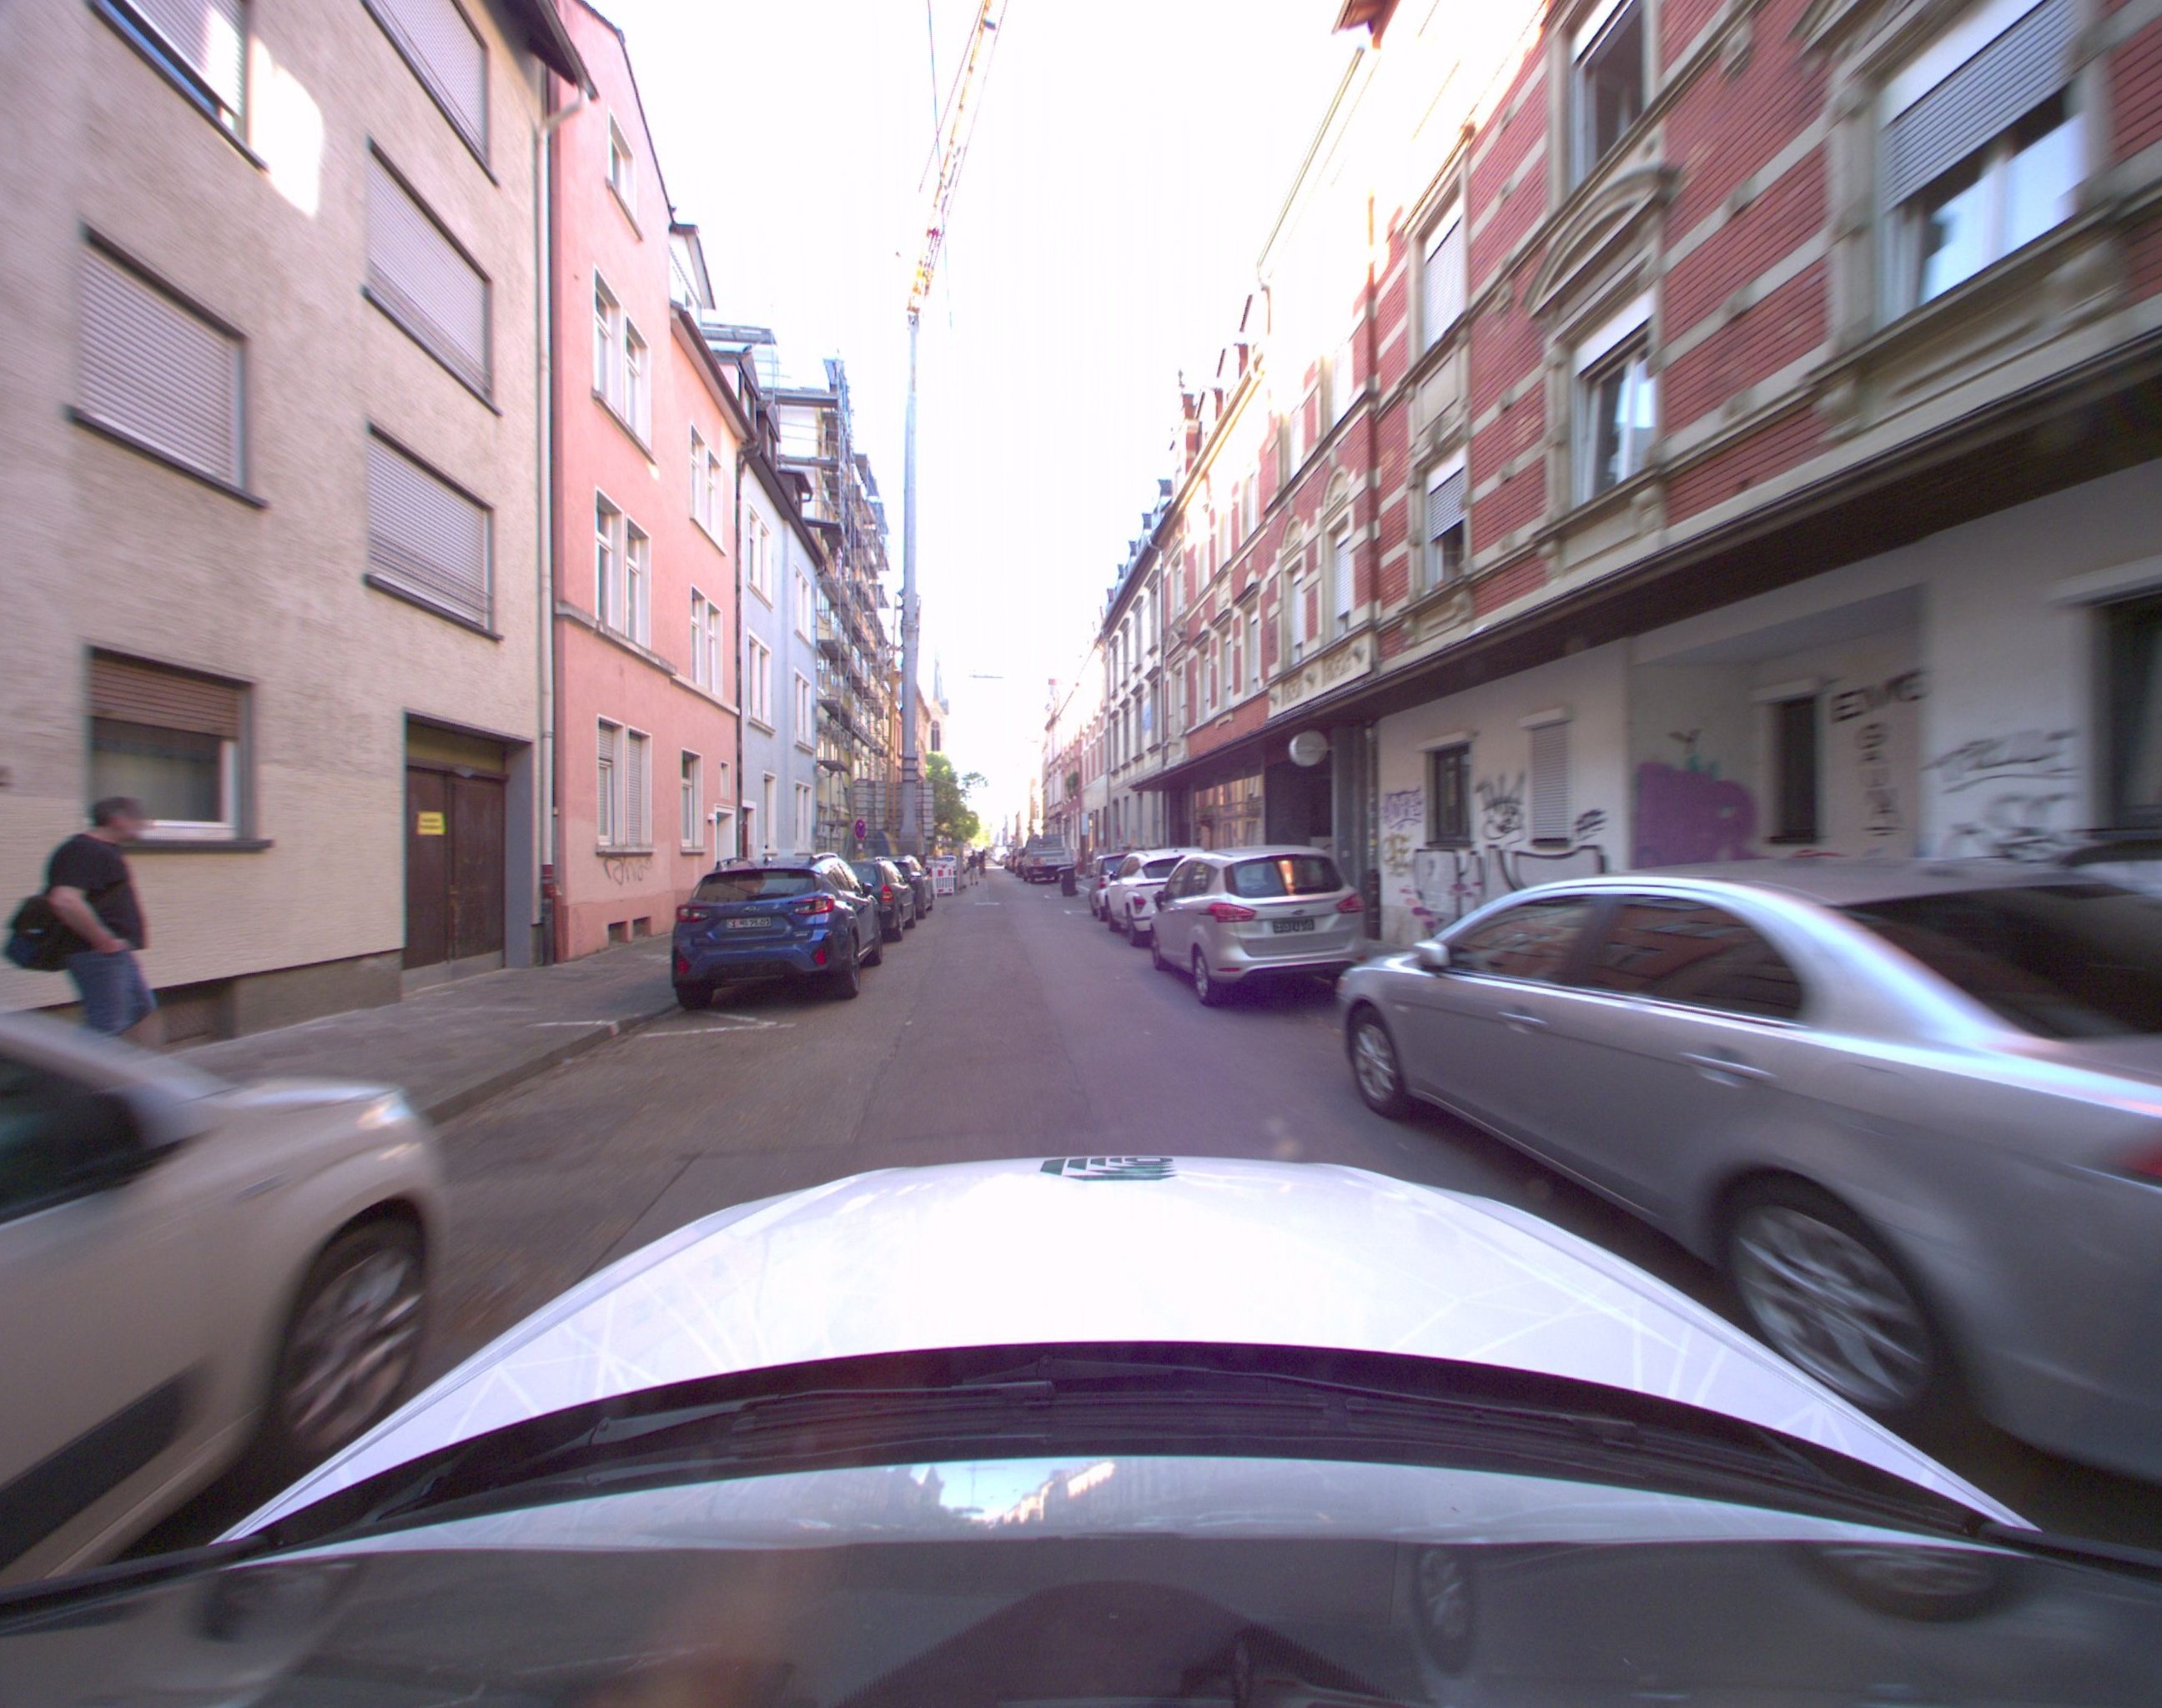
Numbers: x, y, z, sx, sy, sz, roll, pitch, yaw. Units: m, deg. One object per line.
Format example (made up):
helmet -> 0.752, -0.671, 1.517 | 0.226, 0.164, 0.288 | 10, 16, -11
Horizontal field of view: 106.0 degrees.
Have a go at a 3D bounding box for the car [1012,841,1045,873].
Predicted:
car -> -3.430, 0.175, 52.646 | 1.674, 1.963, 4.096 | -1, 0, -9

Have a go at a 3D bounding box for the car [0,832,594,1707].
car -> -2.559, 0.757, 1.228 | 1.673, 1.539, 3.859 | -1, 0, -7

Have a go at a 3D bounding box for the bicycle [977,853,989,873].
bicycle -> -6.137, 0.564, 51.003 | 0.724, 1.186, 2.038 | 1, 1, -6

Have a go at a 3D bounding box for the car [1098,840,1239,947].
car -> 1.466, 0.629, 15.236 | 1.744, 1.675, 4.331 | -1, 0, -6

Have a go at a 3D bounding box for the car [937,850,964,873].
car -> -8.558, 0.495, 53.625 | 1.674, 1.445, 3.857 | -1, 0, -9

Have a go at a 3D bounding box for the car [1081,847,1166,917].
car -> 0.977, 0.625, 20.502 | 1.594, 1.560, 3.806 | -1, 0, -5

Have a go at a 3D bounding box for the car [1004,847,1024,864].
car -> -6.472, 0.166, 78.389 | 1.674, 1.571, 3.857 | -1, 0, -9

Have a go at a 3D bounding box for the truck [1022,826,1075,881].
truck -> -1.770, -0.029, 42.302 | 2.189, 2.607, 5.219 | -1, 0, -8

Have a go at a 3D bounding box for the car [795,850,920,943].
car -> -4.146, 0.694, 15.744 | 1.673, 1.511, 4.403 | -1, 0, -7

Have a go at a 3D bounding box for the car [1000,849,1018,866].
car -> -9.083, 0.412, 102.633 | 1.992, 2.013, 3.989 | -1, 0, -8

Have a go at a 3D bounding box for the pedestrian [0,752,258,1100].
pedestrian -> -5.538, 0.377, 4.665 | 0.906, 1.839, 0.671 | -1, 0, -7

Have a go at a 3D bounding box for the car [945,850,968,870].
car -> -9.578, 0.448, 62.361 | 1.674, 1.445, 3.857 | -1, 0, -9

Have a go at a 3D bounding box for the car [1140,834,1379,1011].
car -> 1.850, 0.638, 9.650 | 1.638, 1.656, 3.861 | 0, 0, -6

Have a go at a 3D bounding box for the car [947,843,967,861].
car -> -11.059, -0.158, 72.402 | 1.674, 1.571, 3.857 | -1, 0, -9

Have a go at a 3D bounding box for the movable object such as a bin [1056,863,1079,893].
movable object such as a bin -> -0.492, 0.884, 30.134 | 0.794, 1.056, 0.658 | 0, 0, -7

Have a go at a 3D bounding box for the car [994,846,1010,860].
car -> -11.316, -0.129, 116.135 | 1.992, 1.848, 3.989 | -1, 0, -8

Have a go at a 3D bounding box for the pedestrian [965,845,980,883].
pedestrian -> -5.119, 0.455, 38.491 | 0.657, 1.732, 0.718 | -3, 0, -8

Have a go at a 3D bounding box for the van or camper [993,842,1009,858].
van or camper -> -12.893, -0.587, 130.922 | 1.994, 2.508, 4.186 | -1, 0, -11

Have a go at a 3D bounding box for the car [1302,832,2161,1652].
car -> 2.666, 0.713, 3.634 | 1.719, 1.562, 4.388 | 0, 1, -7

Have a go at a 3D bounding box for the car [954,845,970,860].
car -> -15.428, -0.155, 105.465 | 1.992, 1.848, 3.989 | -1, 0, -8

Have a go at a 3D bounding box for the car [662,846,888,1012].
car -> -3.476, 0.714, 10.104 | 1.729, 1.539, 4.364 | -2, 0, -9

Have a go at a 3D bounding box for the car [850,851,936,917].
car -> -4.703, 0.682, 20.933 | 1.673, 1.477, 4.596 | -1, 0, -7

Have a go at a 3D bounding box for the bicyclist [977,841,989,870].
bicyclist -> -6.148, 0.077, 51.023 | 0.729, 1.761, 0.833 | 0, 1, -7

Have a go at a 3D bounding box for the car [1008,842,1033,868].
car -> -4.840, 0.079, 65.036 | 1.674, 2.031, 3.857 | -1, 0, -9
